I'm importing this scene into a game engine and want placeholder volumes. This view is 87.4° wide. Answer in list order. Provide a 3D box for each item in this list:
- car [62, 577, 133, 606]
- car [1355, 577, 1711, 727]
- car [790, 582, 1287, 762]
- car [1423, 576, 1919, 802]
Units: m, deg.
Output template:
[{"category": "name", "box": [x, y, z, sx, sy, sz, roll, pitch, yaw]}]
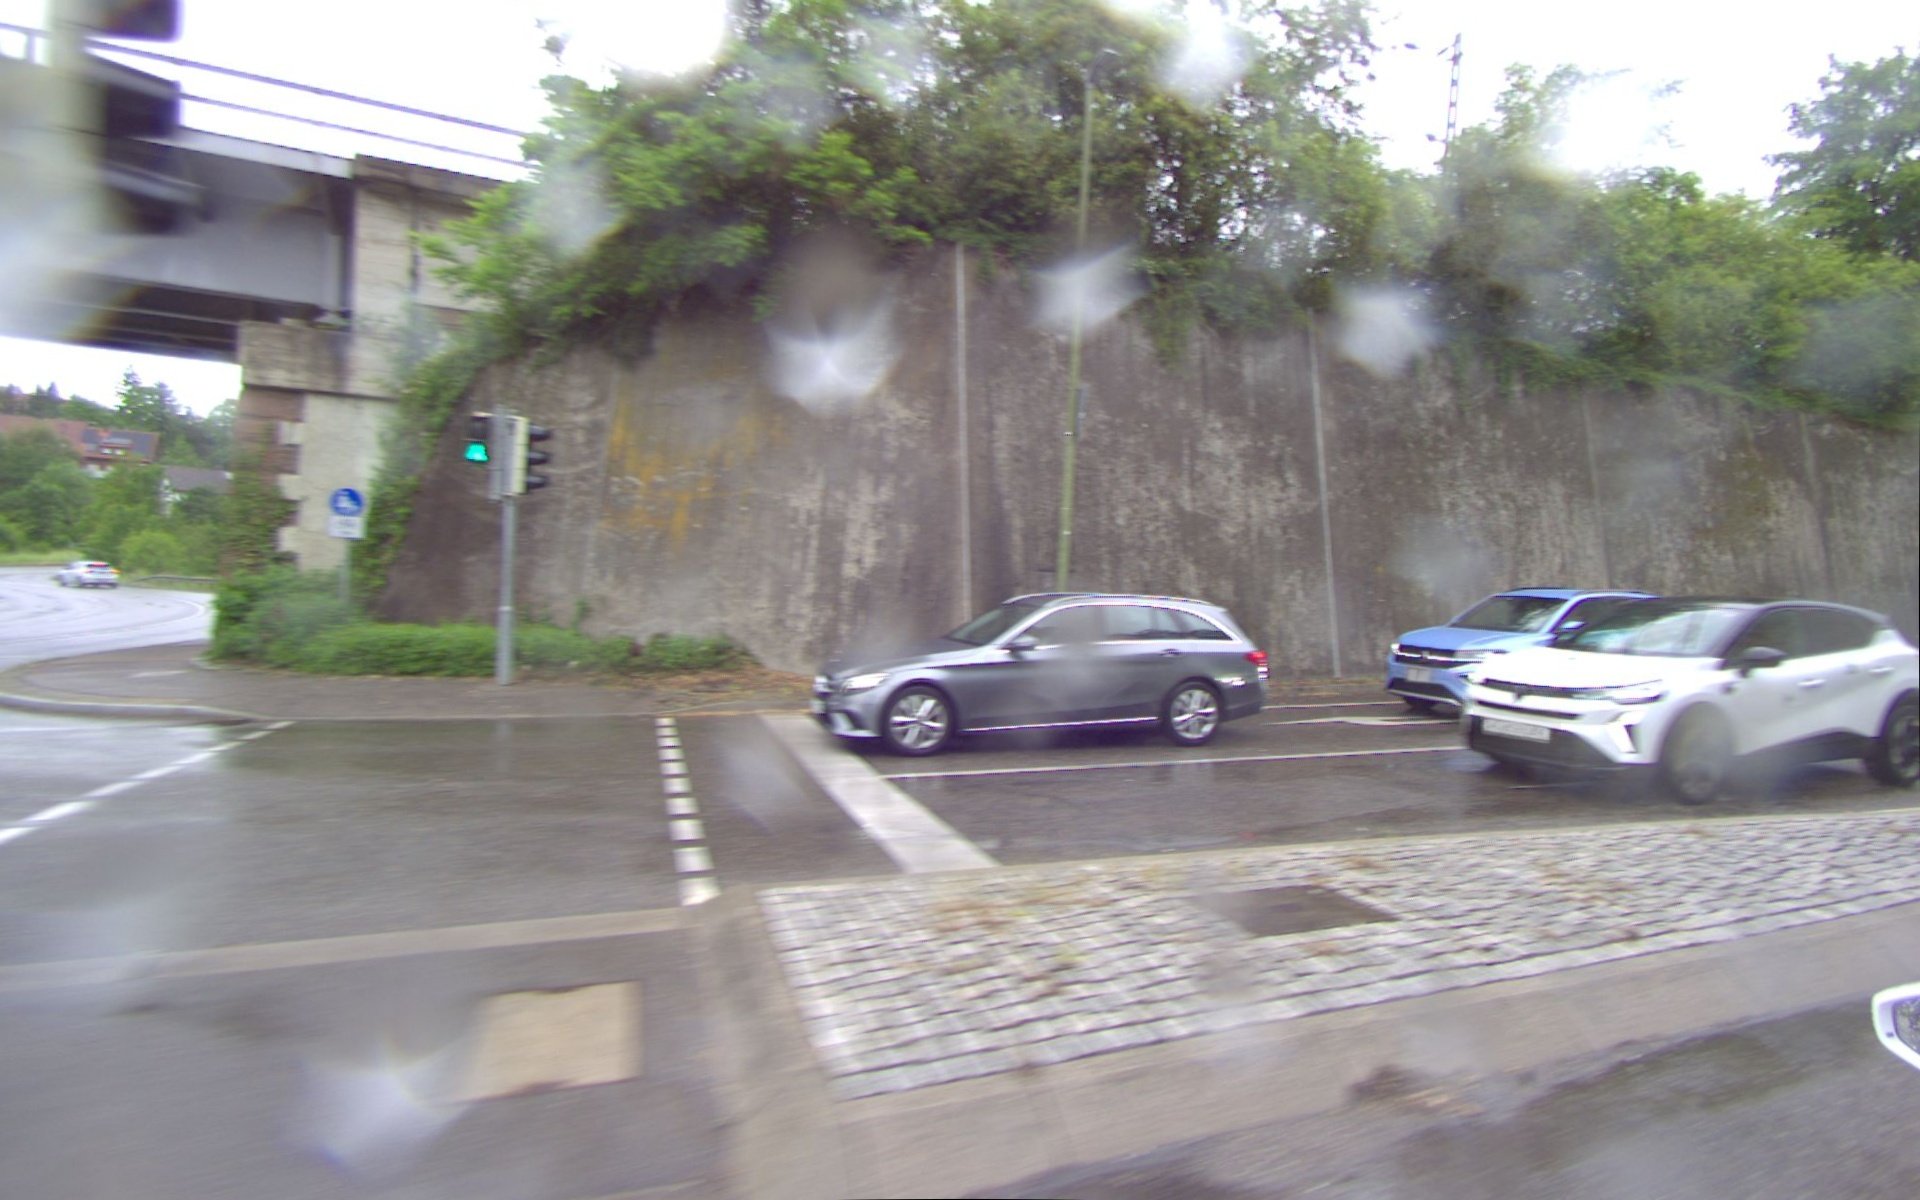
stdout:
[{"category": "car", "box": [-49.133, -0.481, 57.208, 3.930, 1.583, 1.995, 0, 0, 32]}, {"category": "car", "box": [7.284, 0.635, 12.812, 3.988, 1.679, 1.813, 1, -1, -20]}, {"category": "car", "box": [0.761, 0.655, 10.218, 4.656, 1.523, 1.992, 1, -1, -19]}, {"category": "car", "box": [6.290, 0.669, 8.777, 3.940, 1.623, 1.866, 1, -1, -21]}]
